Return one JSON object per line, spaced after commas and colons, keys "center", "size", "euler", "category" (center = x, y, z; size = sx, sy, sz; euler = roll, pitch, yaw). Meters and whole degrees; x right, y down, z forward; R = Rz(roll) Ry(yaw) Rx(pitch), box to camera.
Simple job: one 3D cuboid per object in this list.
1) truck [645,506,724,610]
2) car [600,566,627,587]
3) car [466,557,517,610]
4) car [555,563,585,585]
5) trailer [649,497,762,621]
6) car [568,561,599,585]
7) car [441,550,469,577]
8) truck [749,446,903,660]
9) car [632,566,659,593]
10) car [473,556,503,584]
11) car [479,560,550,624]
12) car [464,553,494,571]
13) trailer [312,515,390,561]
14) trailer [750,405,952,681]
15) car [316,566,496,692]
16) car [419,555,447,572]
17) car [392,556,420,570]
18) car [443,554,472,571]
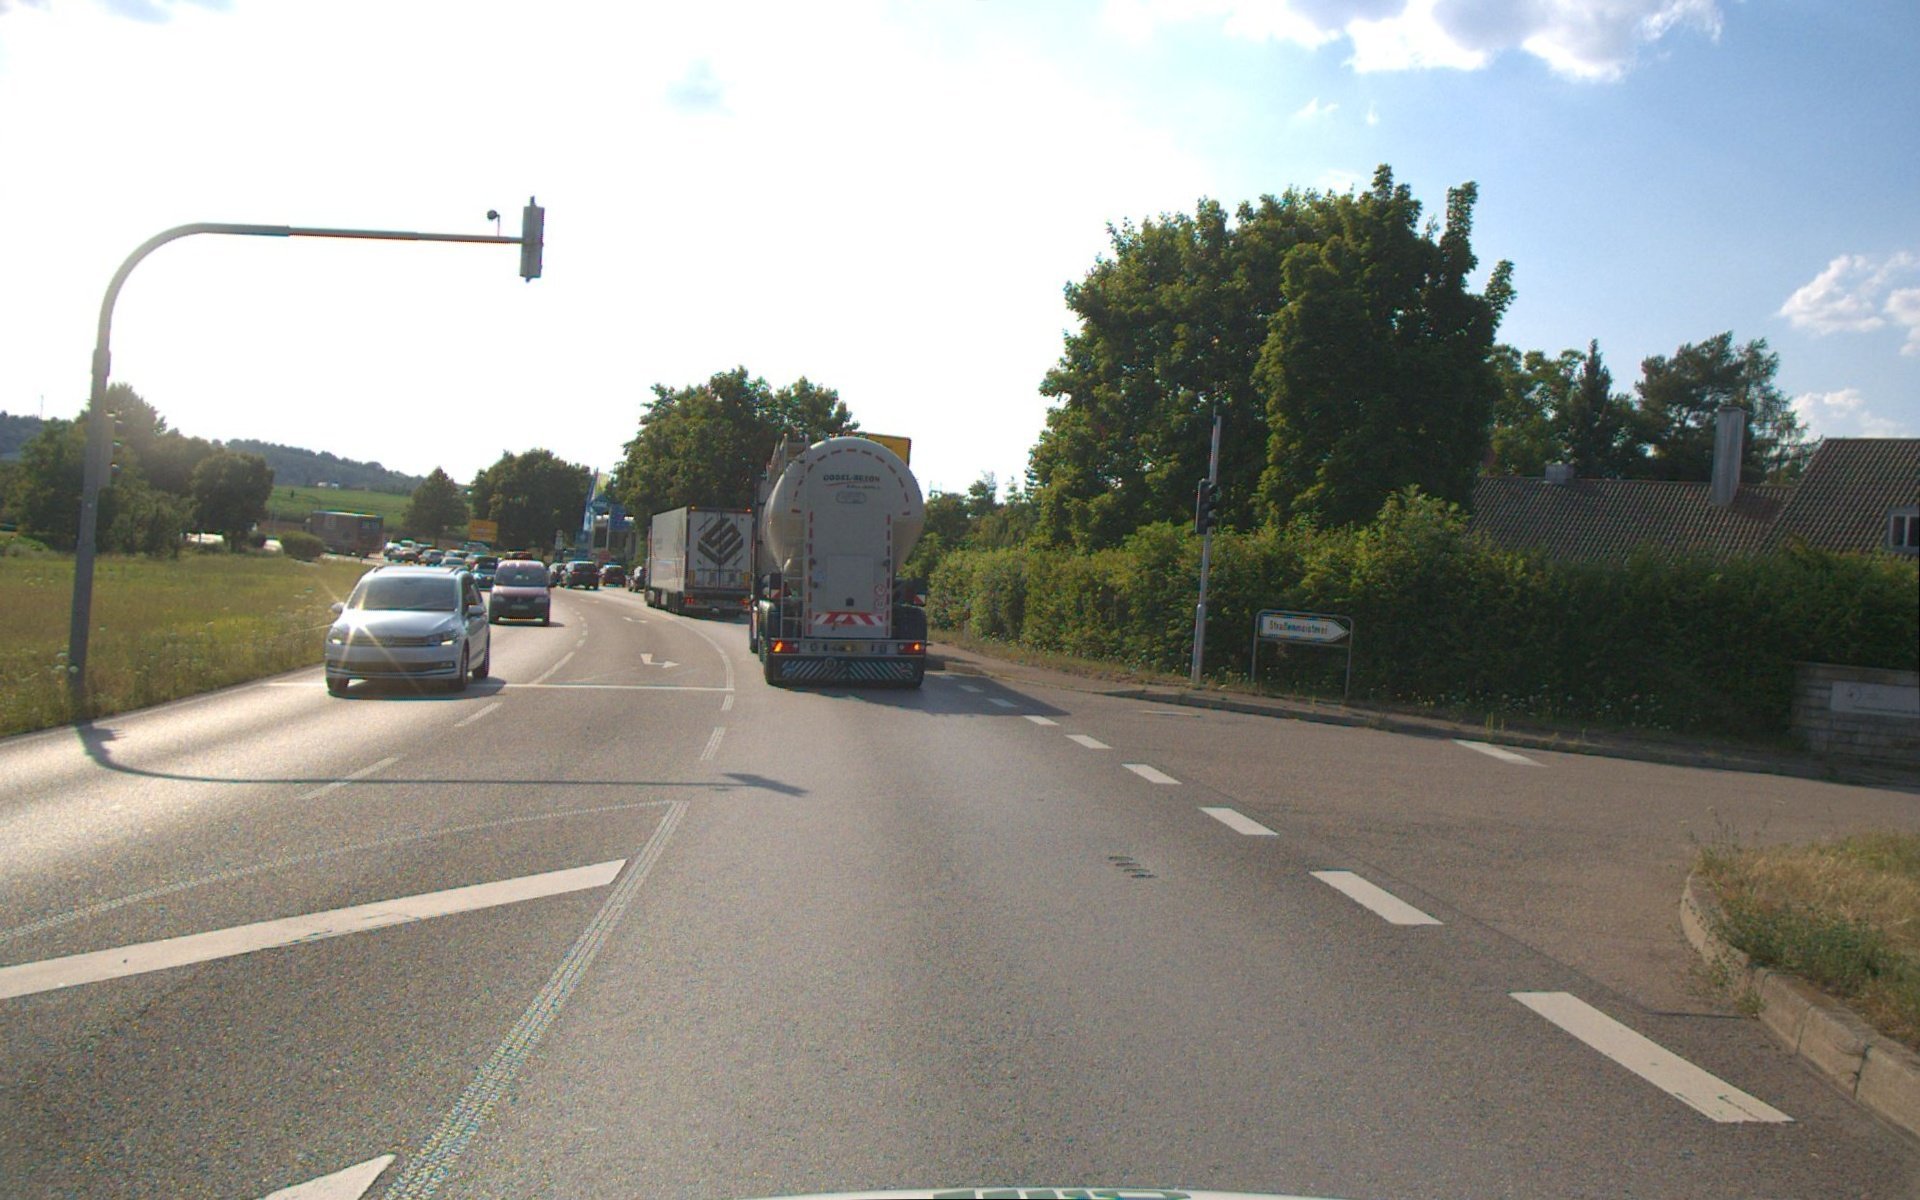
{"center": [-12.496, -1.873, 74.750], "size": [2.903, 4.377, 4.912], "euler": [3, 1, -15], "category": "truck"}
{"center": [-24.453, -1.668, 116.549], "size": [1.646, 1.364, 3.413], "euler": [3, 1, -14], "category": "car"}
{"center": [-17.700, -0.651, 62.358], "size": [1.697, 1.915, 4.314], "euler": [0, 1, -18], "category": "car"}
{"center": [-26.697, -1.772, 113.110], "size": [1.557, 1.364, 3.405], "euler": [3, 1, -20], "category": "car"}
{"center": [-10.623, -1.677, 67.599], "size": [2.906, 4.390, 14.121], "euler": [3, 1, -15], "category": "trailer"}
{"center": [-23.955, -1.729, 105.114], "size": [1.556, 1.364, 3.408], "euler": [3, 1, -18], "category": "car"}
{"center": [-34.939, -2.546, 114.353], "size": [1.562, 1.806, 3.976], "euler": [0, 1, -21], "category": "car"}
{"center": [-2.854, -0.948, 34.296], "size": [2.855, 4.076, 4.053], "euler": [2, 1, -8], "category": "truck"}
{"center": [-19.479, -1.281, 102.292], "size": [1.397, 1.534, 3.413], "euler": [3, 1, -14], "category": "car"}
{"center": [-26.553, -1.695, 93.008], "size": [1.561, 1.492, 3.589], "euler": [0, 1, -18], "category": "car"}
{"center": [-13.325, -0.264, 49.355], "size": [1.851, 1.806, 4.300], "euler": [0, 1, -18], "category": "car"}
{"center": [-40.426, -3.189, 138.987], "size": [1.565, 1.364, 3.388], "euler": [3, 1, -32], "category": "car"}
{"center": [-63.377, -6.521, 171.857], "size": [3.352, 4.425, 14.102], "euler": [3, 1, -38], "category": "trailer"}
{"center": [-2.266, -0.945, 29.936], "size": [2.855, 4.075, 9.913], "euler": [2, 1, -8], "category": "trailer"}
{"center": [-7.784, 0.344, 23.616], "size": [1.847, 1.614, 4.319], "euler": [1, 1, -11], "category": "car"}
{"center": [-48.263, -3.354, 151.486], "size": [1.565, 1.364, 3.388], "euler": [3, 1, -32], "category": "car"}
{"center": [-52.573, -3.511, 156.888], "size": [1.752, 1.226, 3.388], "euler": [3, 1, -32], "category": "car"}
{"center": [-43.937, -3.270, 144.521], "size": [1.565, 1.364, 3.388], "euler": [3, 1, -32], "category": "car"}
